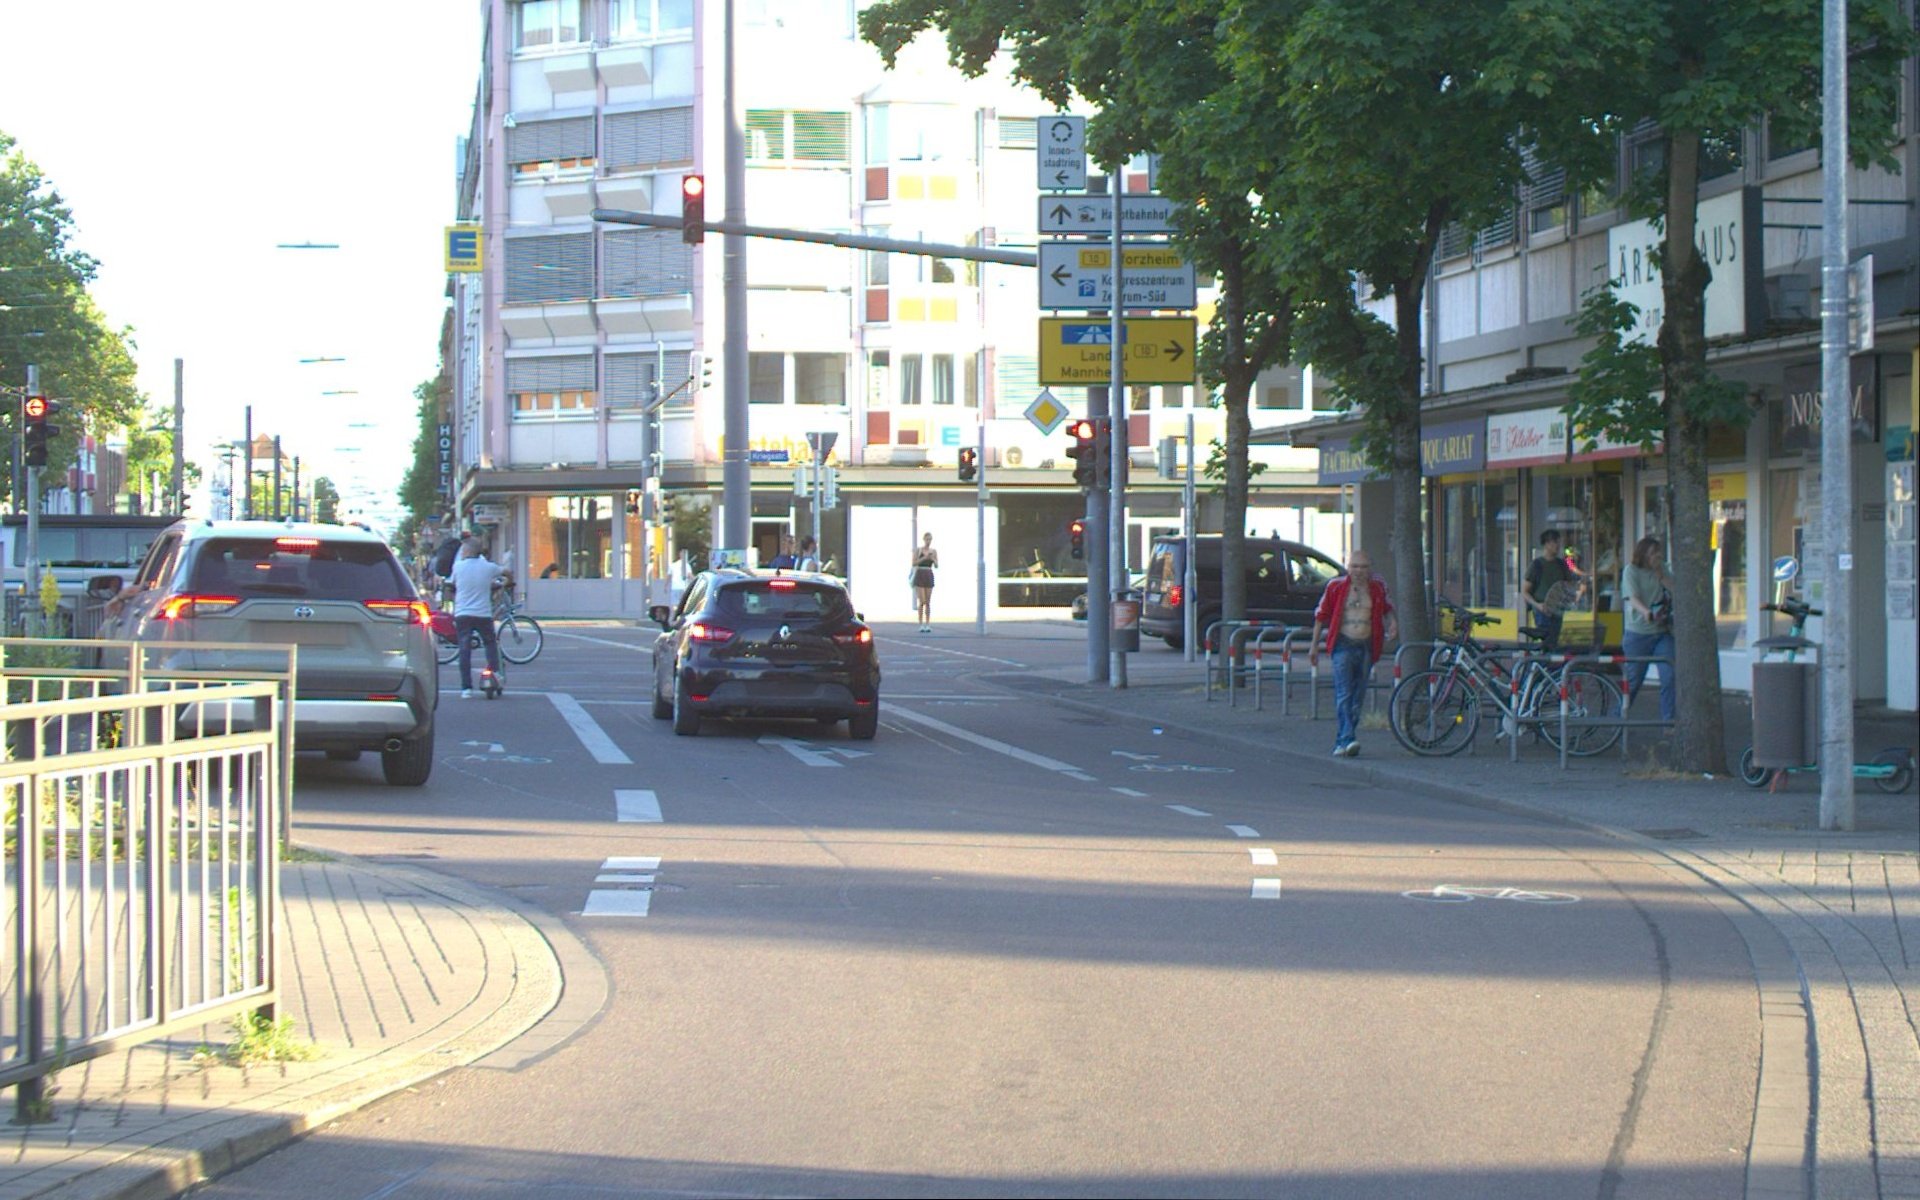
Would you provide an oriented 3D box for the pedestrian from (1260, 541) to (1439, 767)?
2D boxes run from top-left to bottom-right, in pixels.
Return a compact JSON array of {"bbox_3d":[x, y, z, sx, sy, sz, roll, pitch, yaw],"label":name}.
[{"bbox_3d":[2.969,0.407,26.244,0.823,1.679,1.048,2,0,-35],"label":"pedestrian"}]

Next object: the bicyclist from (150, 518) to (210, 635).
[{"bbox_3d":[-10.219,-0.314,45.033,0.703,1.506,0.550,-2,1,-14],"label":"bicyclist"}]

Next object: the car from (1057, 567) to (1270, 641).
[{"bbox_3d":[4.726,0.093,80.068,4.550,1.615,1.999,1,0,-12],"label":"car"}]

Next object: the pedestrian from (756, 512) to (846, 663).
[{"bbox_3d":[-1.976,-0.150,42.634,0.994,1.824,0.729,2,0,-9],"label":"pedestrian"}]

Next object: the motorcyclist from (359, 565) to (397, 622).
[{"bbox_3d":[-12.672,-0.139,74.847,0.703,1.216,0.789,2,0,-15],"label":"motorcyclist"}]

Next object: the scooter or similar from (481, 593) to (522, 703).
[{"bbox_3d":[-4.662,0.481,34.989,0.279,1.087,1.257,2,0,-3],"label":"scooter or similar"}]

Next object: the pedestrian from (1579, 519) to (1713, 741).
[{"bbox_3d":[5.625,0.243,28.226,0.746,1.772,0.973,2,0,-8],"label":"pedestrian"}]

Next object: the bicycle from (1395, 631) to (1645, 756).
[{"bbox_3d":[4.273,0.710,26.278,1.818,0.888,0.415,2,0,-2],"label":"bicycle"}]

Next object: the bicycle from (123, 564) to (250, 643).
[{"bbox_3d":[-10.132,0.049,45.041,1.611,1.024,0.353,0,0,-15],"label":"bicycle"}]

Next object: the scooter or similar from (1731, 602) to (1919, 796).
[{"bbox_3d":[5.544,0.622,21.907,1.219,1.213,0.294,-1,-2,37],"label":"scooter or similar"}]

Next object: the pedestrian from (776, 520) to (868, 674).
[{"bbox_3d":[-1.683,-0.038,41.864,0.994,1.824,0.729,2,0,-8],"label":"pedestrian"}]

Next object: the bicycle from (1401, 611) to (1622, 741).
[{"bbox_3d":[4.365,0.602,27.253,1.657,0.971,0.386,2,0,-2],"label":"bicycle"}]

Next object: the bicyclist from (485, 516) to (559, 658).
[{"bbox_3d":[-5.912,-0.176,46.388,0.860,1.871,0.647,2,0,-15],"label":"bicyclist"}]

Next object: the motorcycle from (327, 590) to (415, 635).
[{"bbox_3d":[-12.808,0.271,74.765,1.833,0.905,0.432,2,0,-13],"label":"motorcycle"}]

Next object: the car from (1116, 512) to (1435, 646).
[{"bbox_3d":[4.935,-0.343,53.872,4.559,2.030,2.001,0,1,-21],"label":"car"}]

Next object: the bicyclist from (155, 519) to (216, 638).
[{"bbox_3d":[-9.971,-0.277,44.265,0.703,1.506,0.550,-2,1,-15],"label":"bicyclist"}]

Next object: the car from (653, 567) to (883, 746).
[{"bbox_3d":[-1.755,0.451,30.359,1.764,1.435,4.001,0,1,-7],"label":"car"}]

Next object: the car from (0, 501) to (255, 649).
[{"bbox_3d":[-12.410,-0.366,48.082,4.682,2.007,2.000,0,1,-24],"label":"car"}]

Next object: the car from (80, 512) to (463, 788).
[{"bbox_3d":[-4.606,0.271,22.556,1.834,1.630,4.092,1,1,-20],"label":"car"}]

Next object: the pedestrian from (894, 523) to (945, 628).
[{"bbox_3d":[-0.693,-0.419,59.281,0.746,1.772,0.800,2,0,-7],"label":"pedestrian"}]

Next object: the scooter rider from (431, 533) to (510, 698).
[{"bbox_3d":[-4.968,0.153,34.926,0.662,1.641,0.661,2,0,-1],"label":"scooter rider"}]

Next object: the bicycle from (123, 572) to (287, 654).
[{"bbox_3d":[-9.736,0.170,44.353,2.035,1.024,0.417,1,0,-14],"label":"bicycle"}]

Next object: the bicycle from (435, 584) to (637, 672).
[{"bbox_3d":[-5.728,0.380,46.418,2.639,1.096,0.435,2,0,-15],"label":"bicycle"}]

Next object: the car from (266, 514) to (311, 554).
[{"bbox_3d":[-33.947,-3.336,173.824,1.993,1.894,4.001,2,0,-8],"label":"car"}]

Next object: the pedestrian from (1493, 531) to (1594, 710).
[{"bbox_3d":[5.912,0.201,34.862,0.746,1.772,0.800,2,0,-8],"label":"pedestrian"}]
